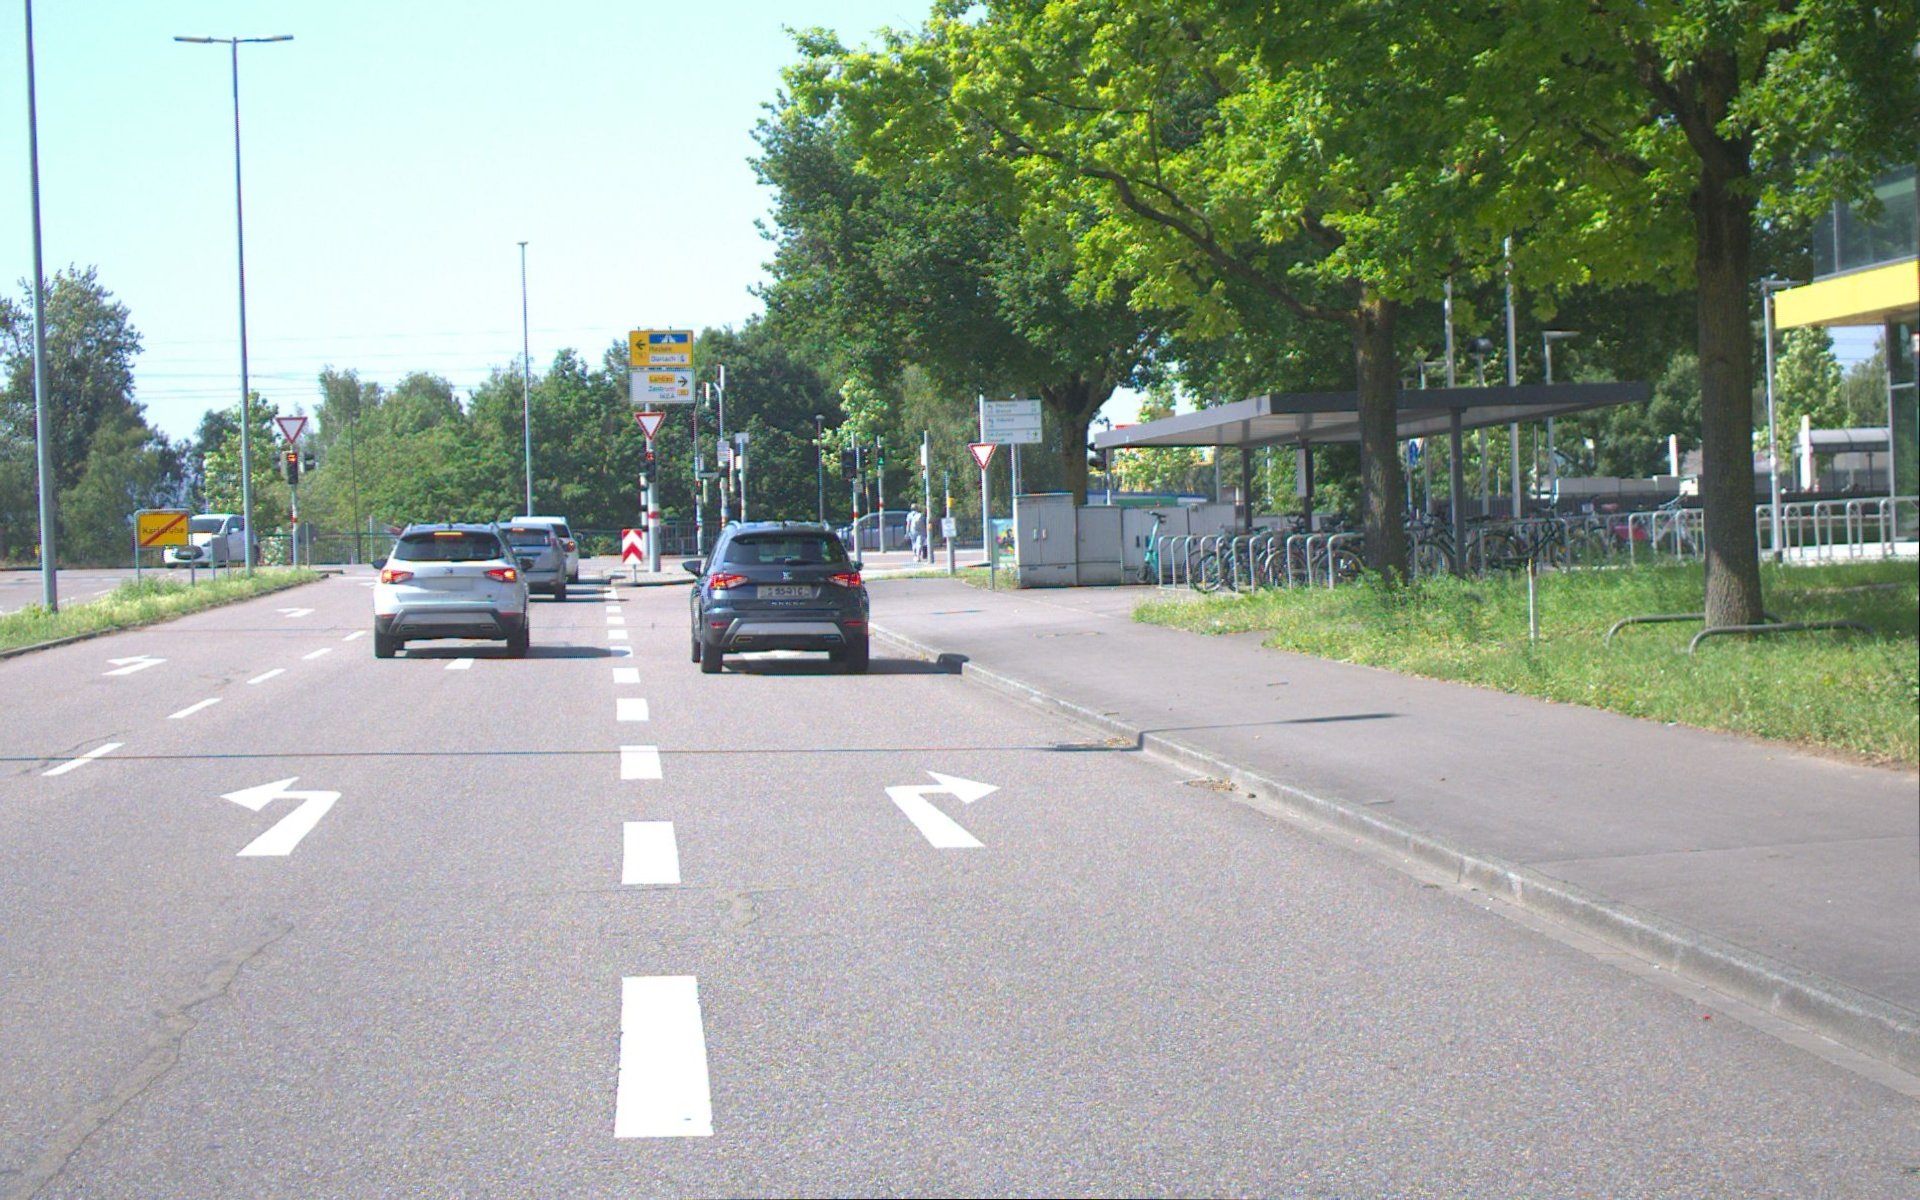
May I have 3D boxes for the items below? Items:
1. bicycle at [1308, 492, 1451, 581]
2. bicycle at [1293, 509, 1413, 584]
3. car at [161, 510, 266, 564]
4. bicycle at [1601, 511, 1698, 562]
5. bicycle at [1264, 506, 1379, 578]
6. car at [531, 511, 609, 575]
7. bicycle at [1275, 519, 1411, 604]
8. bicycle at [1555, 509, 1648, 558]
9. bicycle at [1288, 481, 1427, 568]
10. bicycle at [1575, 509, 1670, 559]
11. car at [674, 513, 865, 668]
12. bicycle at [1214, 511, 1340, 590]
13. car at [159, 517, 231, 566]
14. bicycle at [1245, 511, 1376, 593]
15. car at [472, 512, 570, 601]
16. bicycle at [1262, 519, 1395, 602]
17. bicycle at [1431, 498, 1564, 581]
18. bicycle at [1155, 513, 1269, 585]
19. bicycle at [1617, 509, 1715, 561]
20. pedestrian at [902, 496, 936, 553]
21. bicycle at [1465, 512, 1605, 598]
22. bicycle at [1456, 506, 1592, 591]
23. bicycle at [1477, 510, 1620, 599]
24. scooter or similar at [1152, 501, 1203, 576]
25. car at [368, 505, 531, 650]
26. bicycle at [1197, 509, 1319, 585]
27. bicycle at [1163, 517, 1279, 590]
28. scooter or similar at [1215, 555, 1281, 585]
[{"bbox_3d":[5.464,-0.830,44.788,1.758,1.092,0.452,-2,1,-5],"label":"bicycle"},{"bbox_3d":[6.087,-0.836,53.230,1.758,1.092,0.452,-2,2,-6],"label":"bicycle"},{"bbox_3d":[-22.328,-1.895,102.969,1.794,1.541,4.086,-1,1,7],"label":"car"},{"bbox_3d":[11.881,-1.094,59.260,1.561,0.840,0.434,-2,1,-4],"label":"bicycle"},{"bbox_3d":[5.829,-0.937,55.495,1.758,1.092,0.452,-2,2,-6],"label":"bicycle"},{"bbox_3d":[-9.089,-1.350,80.317,1.741,1.443,4.390,-1,2,-6],"label":"car"},{"bbox_3d":[5.252,-0.532,47.173,1.758,1.092,0.452,-2,2,-6],"label":"bicycle"},{"bbox_3d":[11.554,-1.194,61.924,1.561,0.840,0.434,-2,1,-5],"label":"bicycle"},{"bbox_3d":[5.313,-1.010,45.990,1.758,1.092,0.463,-2,2,-6],"label":"bicycle"},{"bbox_3d":[11.733,-1.170,60.896,1.561,0.840,0.434,-2,1,-3],"label":"bicycle"},{"bbox_3d":[-2.031,-0.133,35.899,1.669,1.518,3.378,-1,1,-9],"label":"car"},{"bbox_3d":[4.669,-0.730,50.690,1.758,1.092,0.452,-2,2,-6],"label":"bicycle"},{"bbox_3d":[-16.351,-1.265,73.530,1.117,1.000,2.492,-2,2,-4],"label":"car"},{"bbox_3d":[4.938,-0.675,48.472,1.758,1.092,0.452,-2,2,-6],"label":"bicycle"},{"bbox_3d":[-8.302,-0.853,65.067,1.706,1.567,4.175,-2,2,-7],"label":"car"},{"bbox_3d":[5.143,-0.554,47.989,1.758,1.092,0.452,-2,2,-6],"label":"bicycle"},{"bbox_3d":[7.555,-0.853,48.370,1.758,1.092,0.452,-2,2,-6],"label":"bicycle"},{"bbox_3d":[4.059,-0.832,55.402,1.758,1.092,0.452,-2,2,-6],"label":"bicycle"},{"bbox_3d":[11.990,-1.103,58.395,1.561,0.840,0.434,-2,1,-4],"label":"bicycle"},{"bbox_3d":[-1.119,-2.068,94.233,0.773,1.505,1.007,-2,3,5],"label":"pedestrian"},{"bbox_3d":[7.733,-0.605,46.248,1.758,1.092,0.452,-2,2,-6],"label":"bicycle"},{"bbox_3d":[7.725,-0.712,47.092,1.758,1.092,0.452,-2,2,-6],"label":"bicycle"},{"bbox_3d":[7.721,-0.598,45.095,1.758,1.092,0.452,-2,2,-6],"label":"bicycle"},{"bbox_3d":[3.750,-1.061,59.306,0.776,1.261,0.284,-3,2,-8],"label":"scooter or similar"},{"bbox_3d":[-5.942,-0.307,40.334,1.630,1.493,3.871,-1,3,-5],"label":"car"},{"bbox_3d":[4.513,-0.807,52.088,1.758,1.092,0.452,-2,2,-6],"label":"bicycle"},{"bbox_3d":[4.129,-0.741,54.406,1.758,1.092,0.452,-2,2,-6],"label":"bicycle"},{"bbox_3d":[4.810,-0.497,57.380,0.917,0.450,0.961,-3,0,15],"label":"scooter or similar"}]
